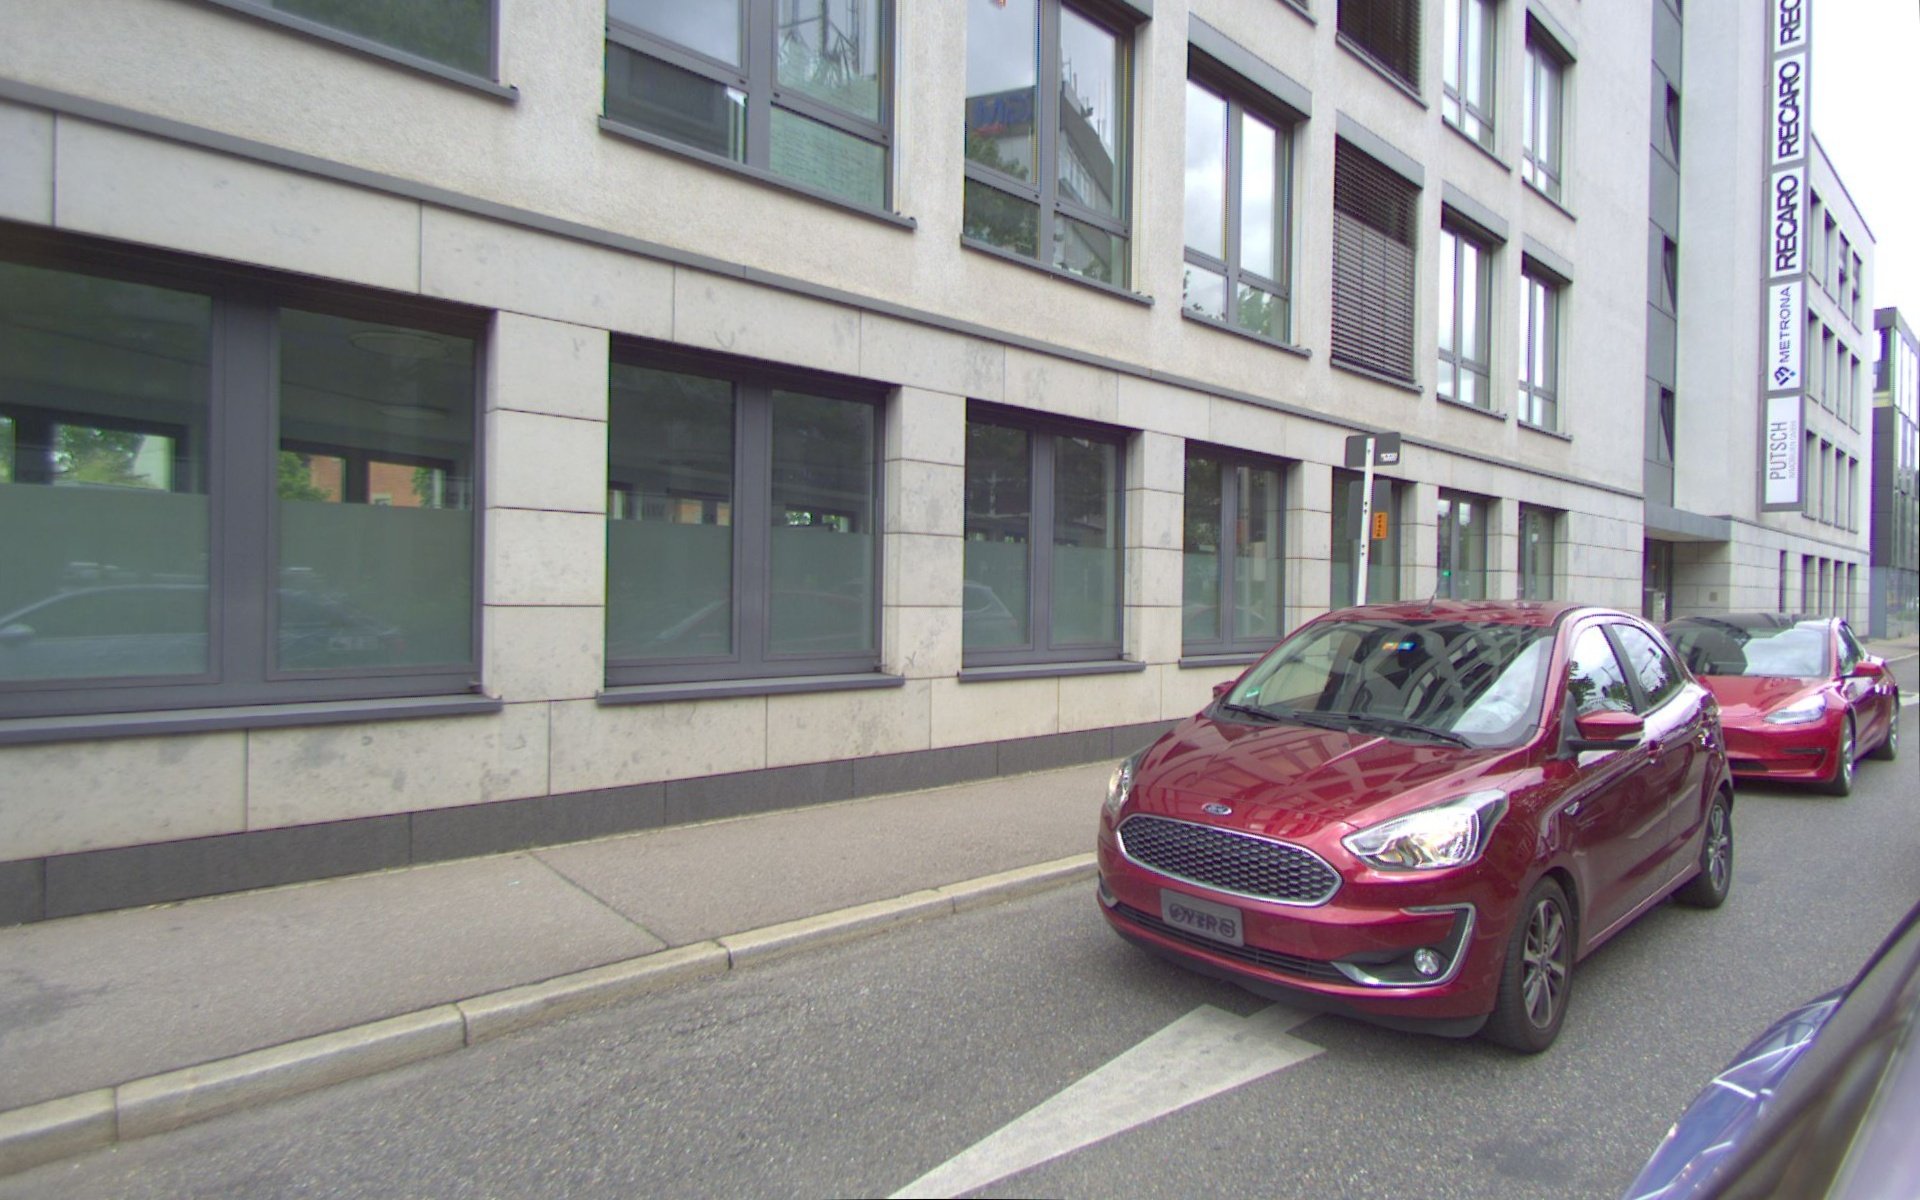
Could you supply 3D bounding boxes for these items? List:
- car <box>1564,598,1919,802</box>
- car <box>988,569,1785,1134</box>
[{"bbox_3d":[7.432,0.737,9.438,4.331,1.476,1.823,0,-1,-41],"label":"car"},{"bbox_3d":[2.214,0.698,4.738,3.930,1.511,1.888,0,-2,-41],"label":"car"}]
